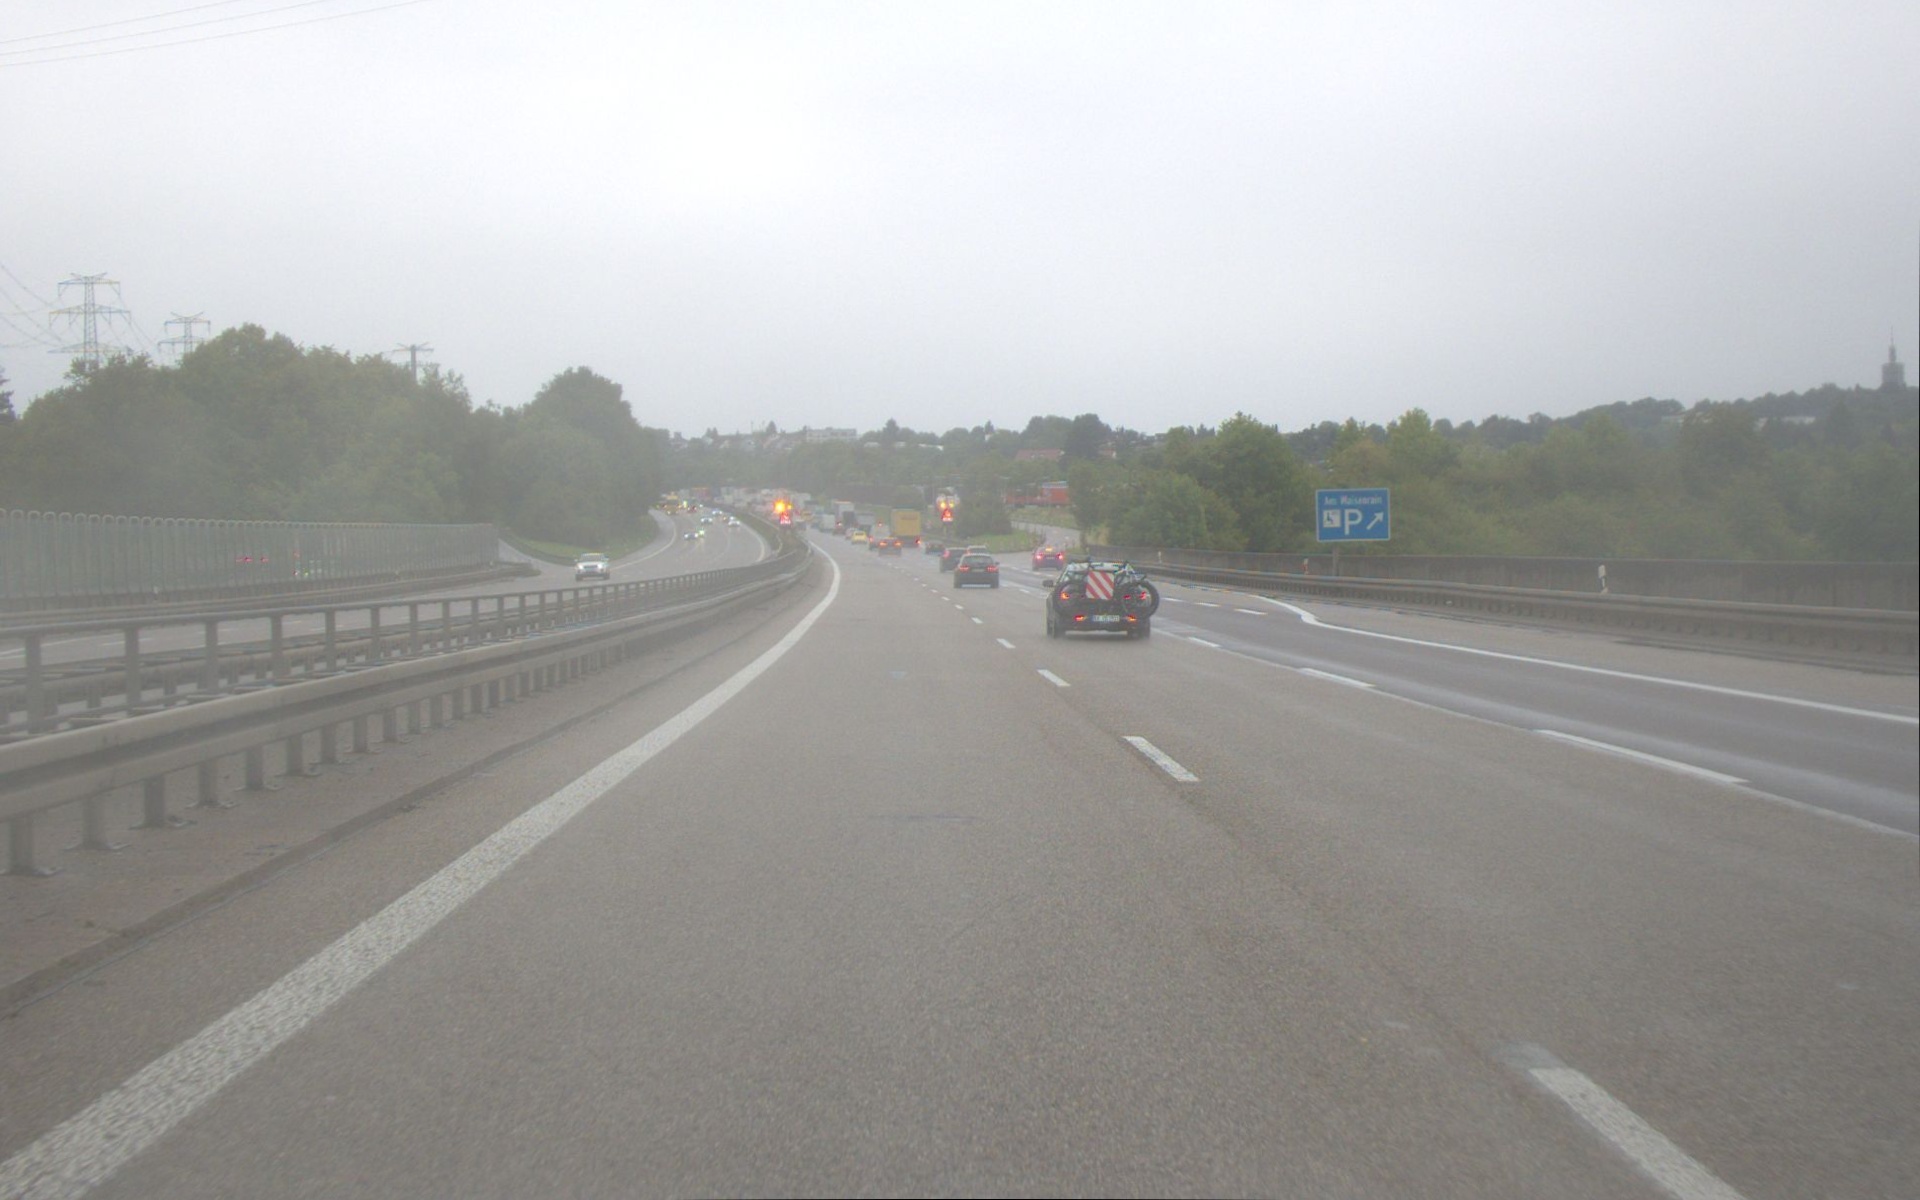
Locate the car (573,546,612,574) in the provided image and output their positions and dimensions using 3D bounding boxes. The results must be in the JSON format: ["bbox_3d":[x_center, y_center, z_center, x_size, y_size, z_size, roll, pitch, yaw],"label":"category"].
[{"bbox_3d":[-22.309,-2.432,208.723,1.993,1.624,4.714,-1,1,-2],"label":"car"}]

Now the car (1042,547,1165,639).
[{"bbox_3d":[2.679,-0.162,65.476,2.057,1.665,5.522,0,1,-1],"label":"car"}]

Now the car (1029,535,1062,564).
[{"bbox_3d":[5.356,-3.130,214.136,1.922,1.703,4.000,-1,2,3],"label":"car"}]

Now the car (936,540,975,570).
[{"bbox_3d":[-0.275,-2.607,200.098,1.993,1.623,4.001,-2,2,-4],"label":"car"}]

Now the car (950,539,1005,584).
[{"bbox_3d":[0.720,-1.619,143.605,1.993,1.755,4.001,-2,2,-4],"label":"car"}]
